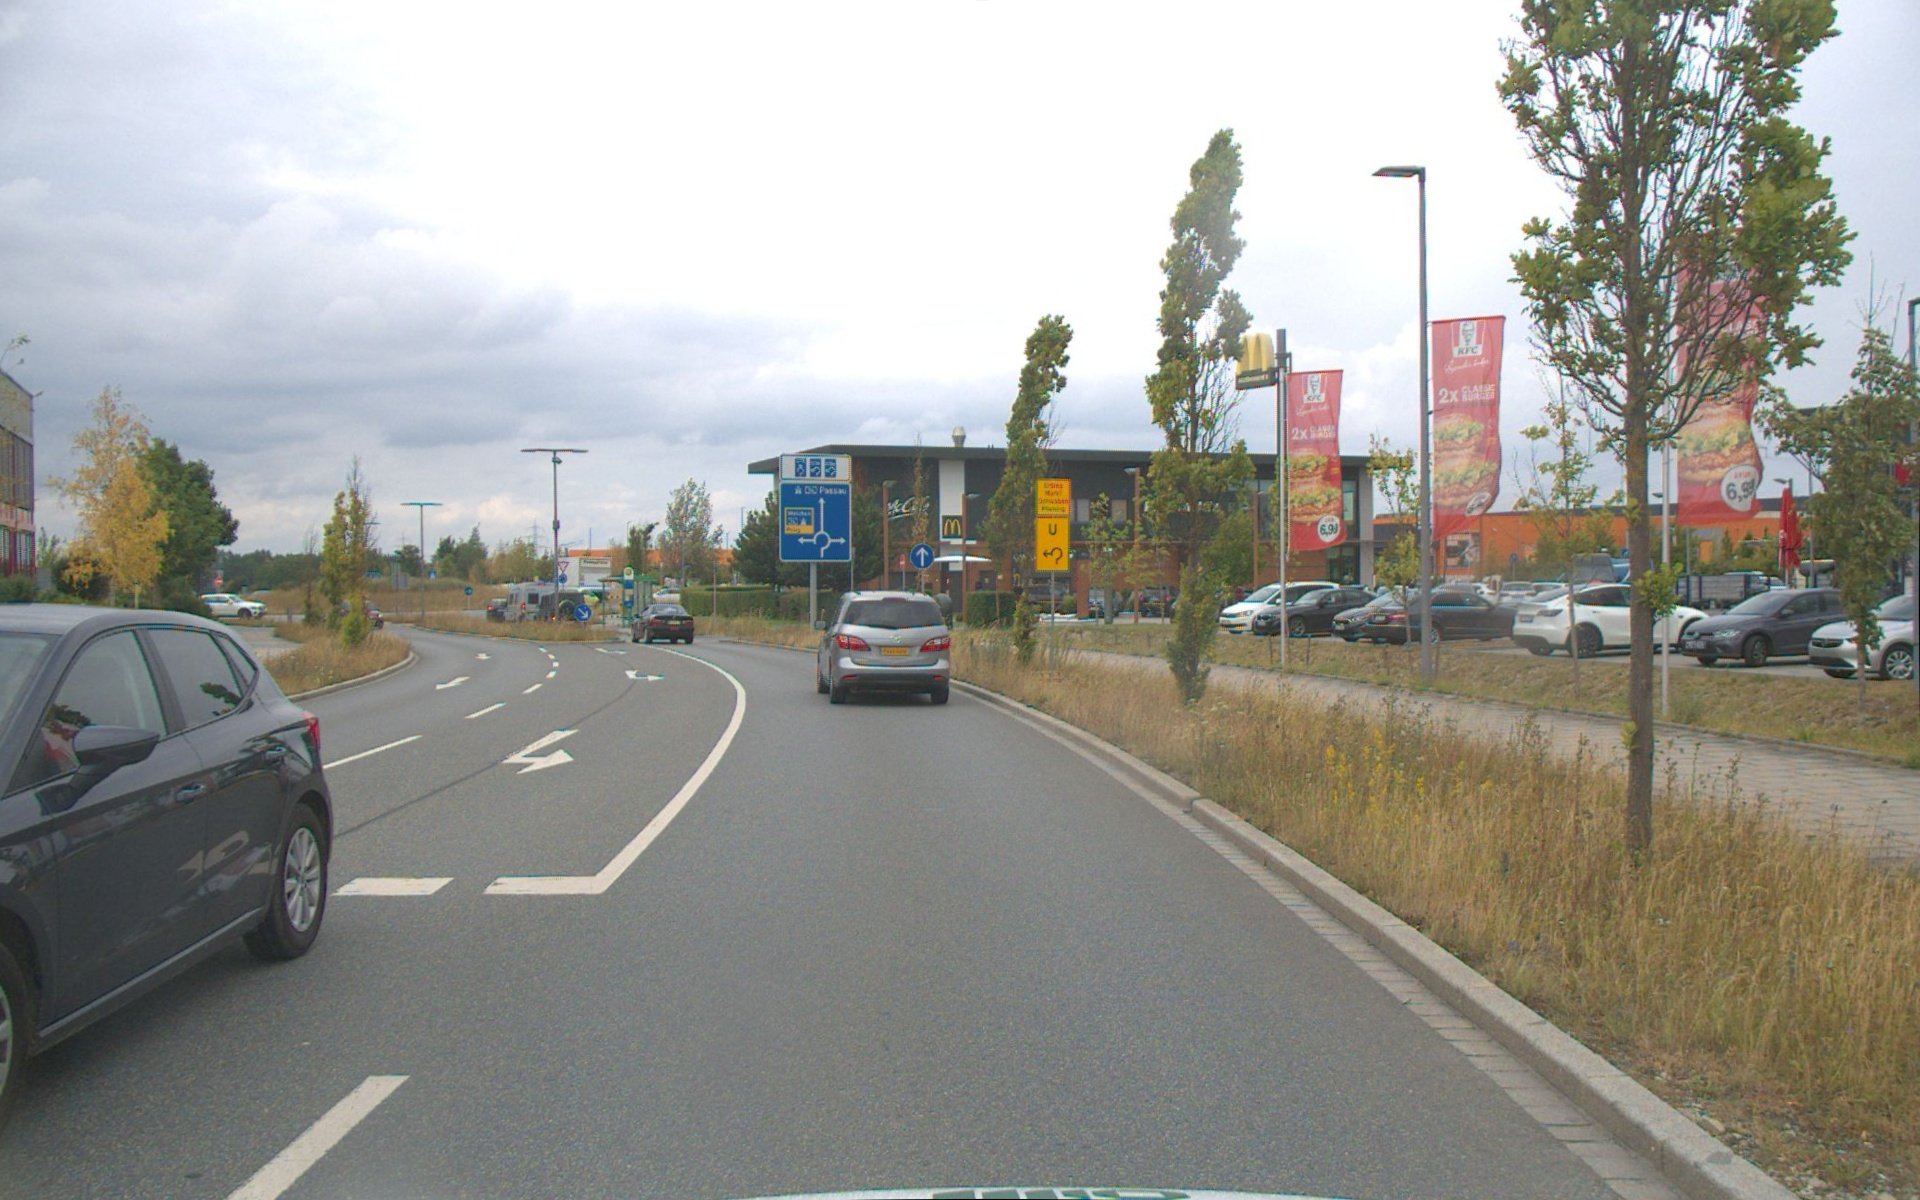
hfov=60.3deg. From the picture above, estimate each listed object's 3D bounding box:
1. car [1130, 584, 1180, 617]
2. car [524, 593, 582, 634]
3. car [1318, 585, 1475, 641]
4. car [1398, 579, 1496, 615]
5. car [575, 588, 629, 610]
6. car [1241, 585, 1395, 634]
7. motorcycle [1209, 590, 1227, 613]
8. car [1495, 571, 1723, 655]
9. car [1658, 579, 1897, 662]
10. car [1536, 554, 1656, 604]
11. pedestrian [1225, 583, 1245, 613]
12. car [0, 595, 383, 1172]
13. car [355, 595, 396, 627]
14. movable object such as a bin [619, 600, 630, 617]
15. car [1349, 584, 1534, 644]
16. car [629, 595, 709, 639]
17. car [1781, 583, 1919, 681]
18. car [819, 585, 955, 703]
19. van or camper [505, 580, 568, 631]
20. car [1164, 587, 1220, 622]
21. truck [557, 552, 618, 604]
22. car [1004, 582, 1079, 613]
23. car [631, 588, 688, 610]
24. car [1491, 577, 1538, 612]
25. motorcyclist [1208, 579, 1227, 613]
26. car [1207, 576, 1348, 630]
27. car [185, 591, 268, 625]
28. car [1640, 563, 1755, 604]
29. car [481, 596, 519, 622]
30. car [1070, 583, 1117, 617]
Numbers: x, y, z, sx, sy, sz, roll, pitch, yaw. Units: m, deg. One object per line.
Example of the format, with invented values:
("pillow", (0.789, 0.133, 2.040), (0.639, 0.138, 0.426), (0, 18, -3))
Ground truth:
("car", (10.738, 0.006, 90.913), (2.071, 1.747, 4.233), (0, 0, 16))
("car", (-19.410, 0.639, 78.730), (2.029, 1.858, 4.754), (-1, 0, -22))
("car", (12.598, 0.344, 47.782), (4.023, 1.463, 1.932), (-2, 1, -19))
("car", (24.272, -0.163, 82.541), (4.618, 1.685, 2.001), (-1, 0, 16))
("car", (-26.082, -0.053, 120.641), (1.952, 1.542, 4.000), (-1, 0, 21))
("car", (11.368, 0.278, 52.564), (4.403, 1.461, 2.061), (-1, 1, -21))
("motorcycle", (14.216, 0.076, 91.235), (0.838, 1.266, 1.968), (0, 0, 13))
("car", (14.904, 0.272, 38.068), (4.483, 1.673, 2.082), (-2, 1, -13))
("car", (16.375, 0.390, 33.225), (3.913, 1.510, 1.936), (-1, 0, -9))
("car", (34.430, -1.117, 89.543), (5.908, 2.572, 2.280), (-1, 1, 25))
("pedestrian", (13.680, -0.115, 82.290), (0.755, 1.464, 0.622), (-1, 0, 35))
("car", (-3.389, 0.718, 5.324), (1.793, 1.445, 4.242), (0, 0, -4))
("car", (-33.695, 0.659, 95.301), (1.777, 1.698, 4.291), (-4, 1, -25))
("movable object such as a bin", (-16.905, 0.428, 83.256), (0.450, 0.812, 0.377), (-1, 0, -26))
("car", (13.039, 0.345, 44.842), (4.447, 1.494, 2.022), (-1, 1, -18))
("car", (-10.266, 0.567, 58.059), (1.821, 1.443, 4.193), (-1, 1, -24))
("car", (16.392, 0.487, 28.286), (3.789, 1.507, 1.899), (-2, 0, -7))
("car", (-1.173, 0.603, 24.862), (1.697, 1.628, 3.800), (0, 0, -8))
("van or camper", (-22.223, 0.268, 86.644), (2.274, 2.550, 5.163), (0, 0, -25))
("car", (9.308, 0.166, 66.128), (1.772, 1.336, 3.853), (-1, 1, 15))
("truck", (-29.572, -1.669, 130.982), (3.091, 3.975, 9.269), (-1, 0, -23))
("car", (4.714, -0.142, 96.029), (3.936, 1.747, 1.985), (0, 0, -25))
("car", (-24.896, -0.108, 136.837), (4.525, 1.788, 1.992), (-1, 0, -15))
("car", (24.711, -0.264, 73.787), (1.909, 1.468, 4.221), (-1, 0, 18))
("motorcyclist", (14.209, -0.236, 91.249), (0.940, 1.864, 0.846), (0, 0, 13))
("car", (10.551, 0.082, 54.936), (4.289, 1.668, 1.924), (-1, 1, -23))
("car", (-46.935, 0.504, 105.868), (4.532, 2.049, 1.992), (-1, 0, -15))
("car", (34.946, -0.790, 78.455), (1.850, 1.847, 4.619), (-1, 0, -42))
("car", (-28.448, 0.528, 102.407), (1.958, 1.542, 3.988), (-1, 0, -12))
("car", (7.184, -0.018, 88.639), (1.951, 1.747, 4.003), (0, 0, 12))
